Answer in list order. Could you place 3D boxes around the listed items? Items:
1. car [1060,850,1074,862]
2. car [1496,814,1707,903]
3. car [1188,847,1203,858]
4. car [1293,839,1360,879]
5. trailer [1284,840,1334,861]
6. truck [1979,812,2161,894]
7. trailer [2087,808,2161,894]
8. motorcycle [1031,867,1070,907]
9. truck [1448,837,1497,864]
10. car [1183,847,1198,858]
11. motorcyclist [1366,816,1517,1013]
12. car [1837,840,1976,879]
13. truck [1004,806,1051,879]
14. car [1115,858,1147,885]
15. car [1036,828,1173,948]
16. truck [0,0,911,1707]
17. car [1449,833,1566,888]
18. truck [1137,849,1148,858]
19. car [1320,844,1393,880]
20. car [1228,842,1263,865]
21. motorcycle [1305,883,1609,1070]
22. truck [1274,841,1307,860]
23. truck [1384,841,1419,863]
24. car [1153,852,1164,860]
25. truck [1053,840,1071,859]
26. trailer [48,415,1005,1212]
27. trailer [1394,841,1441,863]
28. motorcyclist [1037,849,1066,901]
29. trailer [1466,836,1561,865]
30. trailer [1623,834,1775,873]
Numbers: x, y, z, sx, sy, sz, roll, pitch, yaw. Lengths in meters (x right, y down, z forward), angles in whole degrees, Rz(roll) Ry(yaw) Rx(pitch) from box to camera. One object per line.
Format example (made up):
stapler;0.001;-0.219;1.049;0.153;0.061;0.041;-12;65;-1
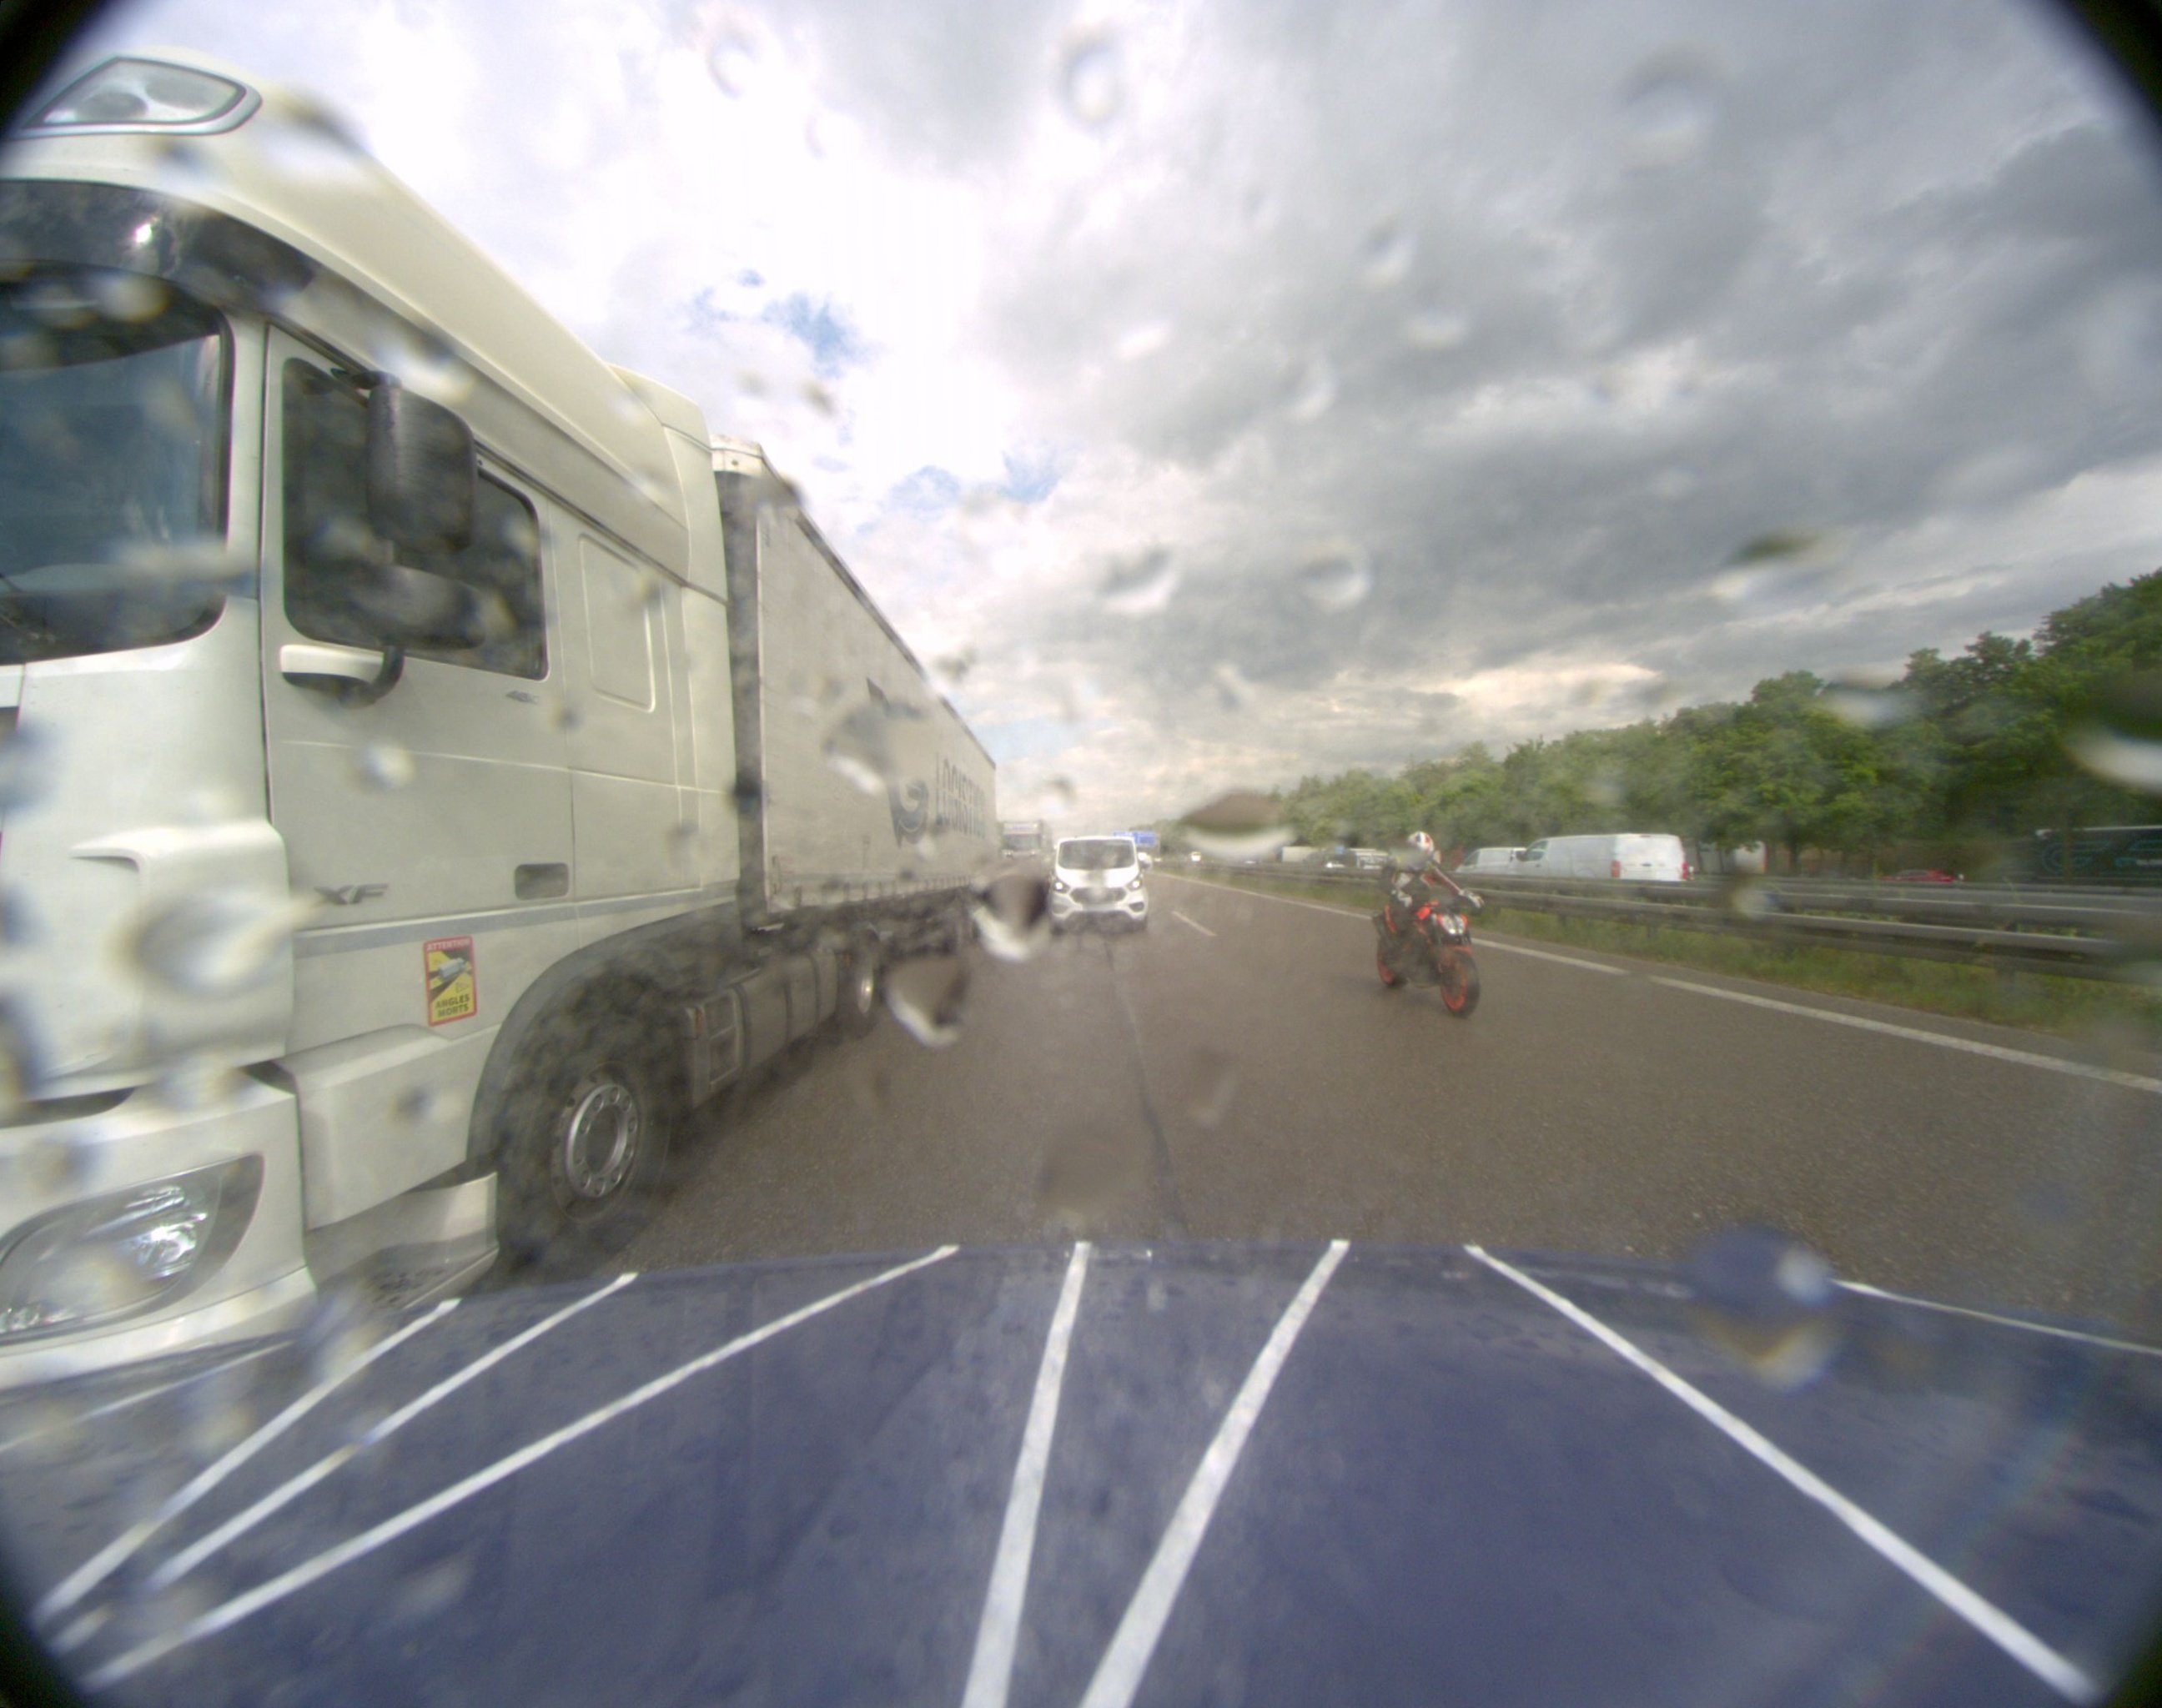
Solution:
car;-2.489;0.337;133.808;2.350;2.033;5.142;-2;1;0
car;13.624;0.081;20.407;2.056;2.034;5.208;-2;1;0
car;21.255;-0.243;141.418;2.051;1.880;5.258;-2;1;0
car;13.644;0.226;42.512;2.179;2.034;4.651;-2;1;0
trailer;43.137;-0.668;144.279;3.216;3.717;12.554;-1;0;-14
truck;56.942;-0.152;42.380;3.797;4.209;8.416;-2;1;1
trailer;56.869;-0.139;34.686;3.798;4.380;13.801;-1;0;1
motorcycle;-1.056;1.070;25.590;1.188;1.142;3.193;-2;1;-3
truck;52.139;-0.431;101.338;2.869;3.436;5.893;-2;1;-7
car;21.287;-0.324;147.552;2.051;1.880;5.258;-2;1;0
motorcyclist;3.346;0.526;7.152;0.883;1.696;1.000;-2;1;-2
car;56.574;0.323;52.328;2.800;2.468;6.209;-2;1;1
truck;-3.412;-0.728;49.019;2.650;4.250;6.882;-2;1;-3
car;4.204;1.477;64.895;2.350;2.033;5.142;-2;1;0
car;0.412;0.573;15.958;2.350;2.033;5.142;-2;1;0
truck;-3.425;-0.197;4.486;3.293;3.868;6.395;-2;0;-1
car;17.485;0.208;31.450;2.179;2.034;4.651;-2;1;0
truck;19.867;-0.073;245.980;2.849;2.666;7.191;-2;1;1
car;17.187;0.430;47.892;2.179;2.034;6.499;-2;1;0
car;14.563;-0.037;67.415;1.958;1.880;5.057;-2;1;0
motorcycle;3.311;0.980;7.321;1.188;1.219;3.193;-2;1;-3
truck;41.507;-0.693;150.655;3.219;3.683;6.907;-2;1;-14
truck;49.397;-0.335;117.239;2.663;3.249;5.081;-2;1;-10
car;18.704;0.422;182.665;2.051;1.880;5.258;-2;1;0
truck;-3.822;-0.853;153.793;3.218;3.607;10.152;-2;1;0
trailer;-3.461;-0.219;10.881;3.292;3.876;14.126;-2;0;0
trailer;50.134;-0.335;113.503;2.588;3.214;7.734;-1;0;-10
motorcyclist;-1.000;0.680;25.572;0.883;1.696;1.000;-2;1;-2
trailer;53.034;-0.428;93.878;2.832;3.385;13.417;-1;0;-7
trailer;55.546;-0.034;69.046;3.356;3.198;12.471;-1;0;-2
